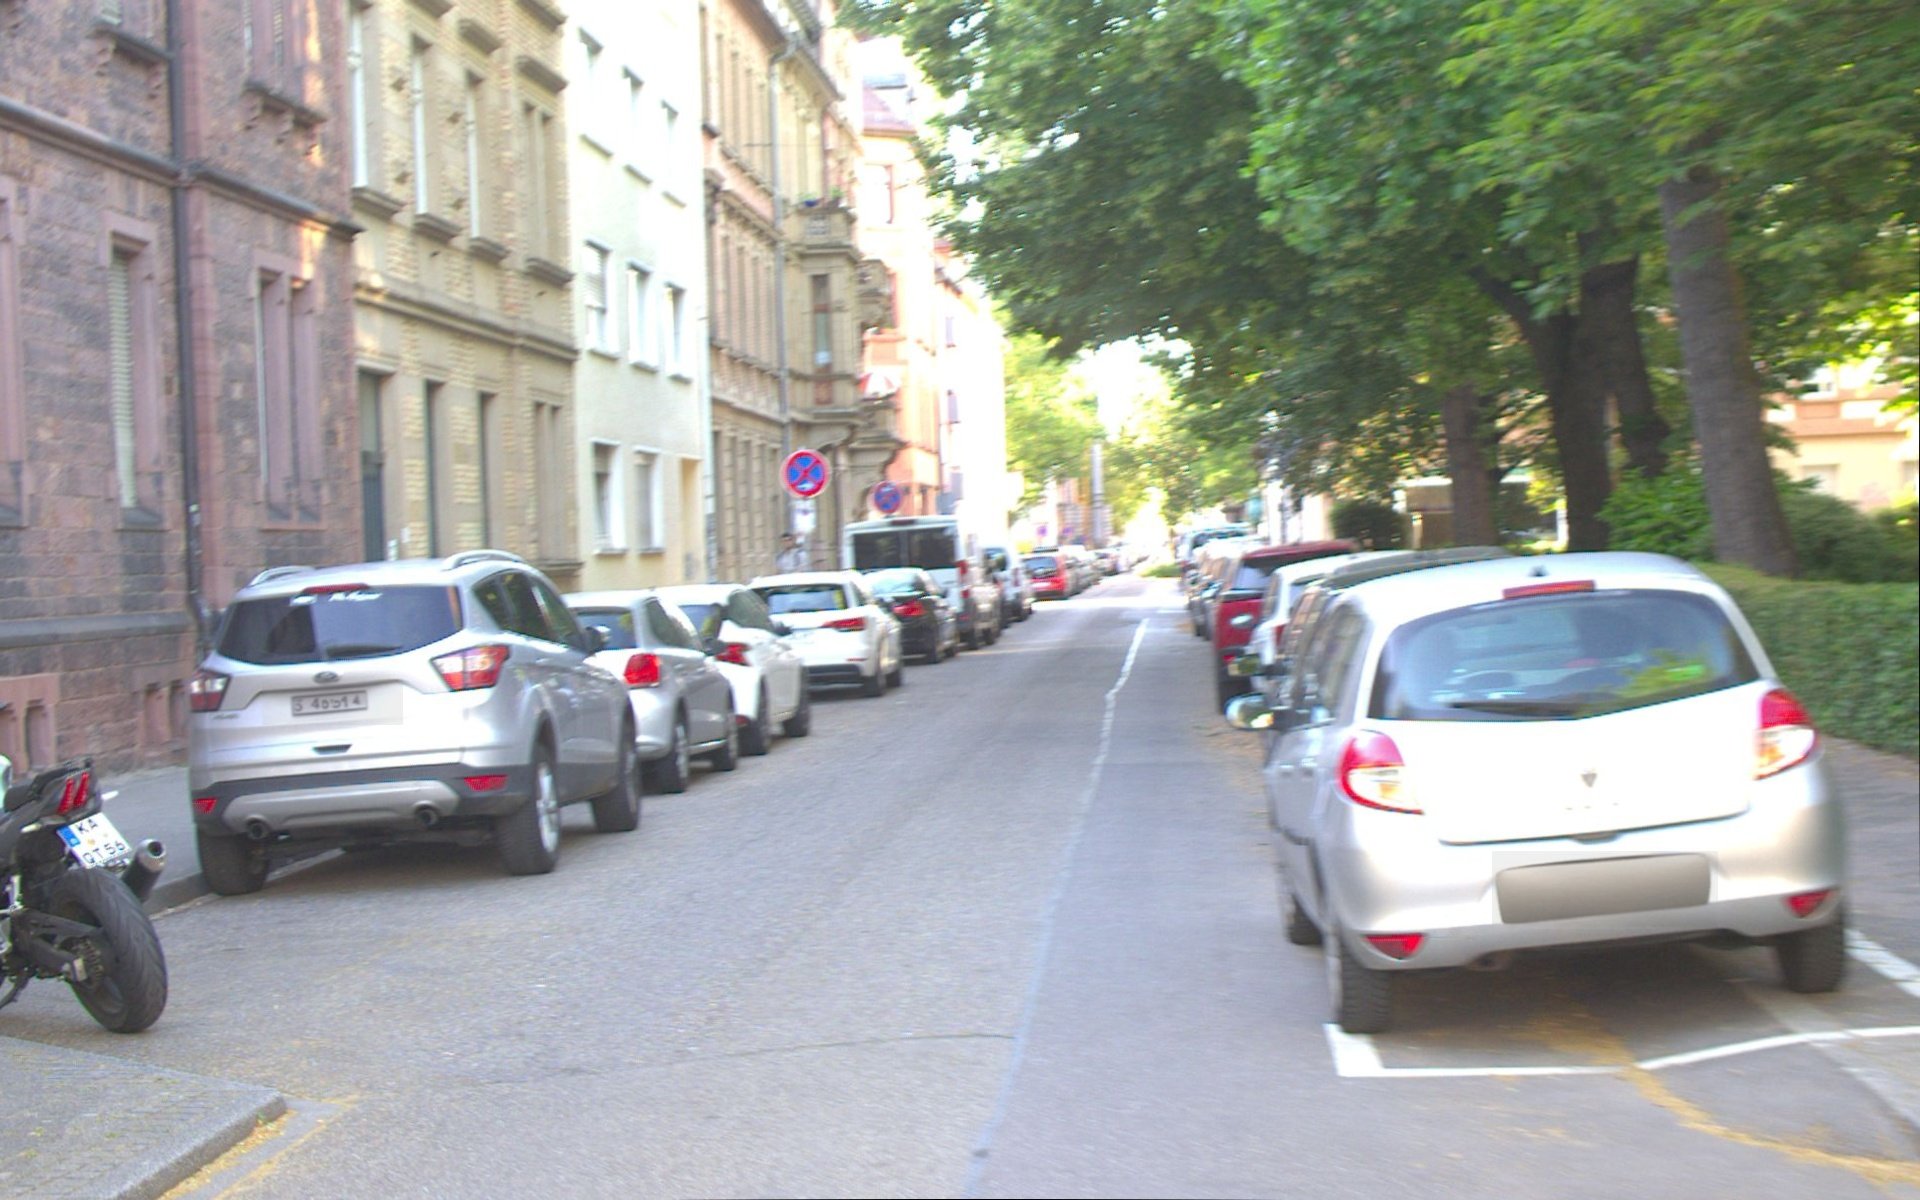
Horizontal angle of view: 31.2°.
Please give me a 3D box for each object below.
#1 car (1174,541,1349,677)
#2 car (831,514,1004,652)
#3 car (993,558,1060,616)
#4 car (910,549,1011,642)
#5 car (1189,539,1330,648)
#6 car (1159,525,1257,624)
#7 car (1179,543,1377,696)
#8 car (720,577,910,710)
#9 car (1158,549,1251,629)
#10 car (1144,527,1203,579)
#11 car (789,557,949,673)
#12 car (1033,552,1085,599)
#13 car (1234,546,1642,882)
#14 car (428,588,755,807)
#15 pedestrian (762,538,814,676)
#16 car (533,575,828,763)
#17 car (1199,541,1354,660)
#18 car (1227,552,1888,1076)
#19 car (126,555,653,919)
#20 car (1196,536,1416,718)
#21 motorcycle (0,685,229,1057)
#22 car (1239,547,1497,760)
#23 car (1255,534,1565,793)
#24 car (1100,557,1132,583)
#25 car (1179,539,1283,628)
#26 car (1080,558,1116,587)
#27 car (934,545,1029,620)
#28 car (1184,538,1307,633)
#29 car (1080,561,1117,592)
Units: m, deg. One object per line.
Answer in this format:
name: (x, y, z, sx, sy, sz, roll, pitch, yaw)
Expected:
car: (3.773, 0.088, 43.582, 1.994, 1.568, 4.000, -2, 0, 3)
car: (-0.640, -0.296, 56.933, 2.309, 2.107, 5.169, -2, 0, 5)
car: (2.097, -0.428, 107.063, 1.950, 1.703, 4.000, -2, 0, 2)
car: (0.044, -0.117, 69.217, 1.793, 1.568, 4.001, -2, 4, 3)
car: (4.653, -0.120, 53.842, 1.994, 1.568, 4.000, -2, 0, 3)
car: (5.996, -0.628, 83.600, 2.161, 2.248, 4.525, -2, 0, 3)
car: (3.529, 0.185, 38.766, 1.994, 1.568, 4.000, -2, 0, 3)
car: (-1.617, 0.463, 39.656, 1.771, 1.349, 4.000, -2, 1, 3)
car: (5.105, -0.246, 72.253, 1.793, 1.568, 4.222, -2, 0, 3)
car: (7.527, -1.670, 121.426, 1.994, 1.722, 4.000, -2, 1, 3)
car: (-1.288, 0.188, 50.273, 1.994, 1.568, 4.000, -2, 0, 3)
car: (4.000, -0.981, 137.788, 1.776, 1.809, 3.999, 1, 1, 6)
car: (2.393, 0.514, 18.082, 1.723, 1.517, 4.000, -2, 0, 3)
car: (-2.640, 0.659, 25.494, 1.725, 1.388, 4.000, -2, 1, 3)
pedestrian: (-2.558, 0.103, 51.111, 0.684, 2.007, 0.692, -2, 0, -3)
car: (-2.356, 0.548, 29.998, 1.882, 1.406, 3.999, -3, 0, 4)
car: (4.495, -0.017, 49.335, 1.994, 1.568, 4.000, -2, 0, 3)
car: (1.992, 0.632, 12.566, 1.724, 1.517, 4.000, -3, 1, 1)
car: (-3.012, 0.658, 19.028, 1.882, 1.701, 3.999, -3, 0, 4)
car: (3.328, 0.227, 33.716, 1.894, 1.619, 4.000, -2, 1, 3)
motorcycle: (-3.525, 0.933, 12.610, 0.664, 1.203, 2.310, -2, 1, -38)
car: (3.349, 0.389, 28.873, 1.841, 1.590, 4.000, -2, 1, 3)
car: (3.009, 0.381, 23.693, 1.741, 1.568, 4.000, -2, 0, 3)
car: (10.293, -1.984, 226.169, 1.994, 1.641, 4.000, -2, 0, 3)
car: (5.107, -0.321, 65.255, 1.793, 1.568, 4.000, -2, 0, 3)
car: (8.196, -1.629, 203.973, 1.994, 1.641, 4.000, -2, 0, 3)
car: (0.514, -0.406, 77.543, 1.903, 1.568, 4.000, -2, 0, 3)
car: (5.019, -0.271, 60.896, 1.994, 1.568, 4.000, -2, 0, 3)
car: (7.872, -1.337, 195.429, 1.994, 1.641, 4.000, -2, 0, 3)
